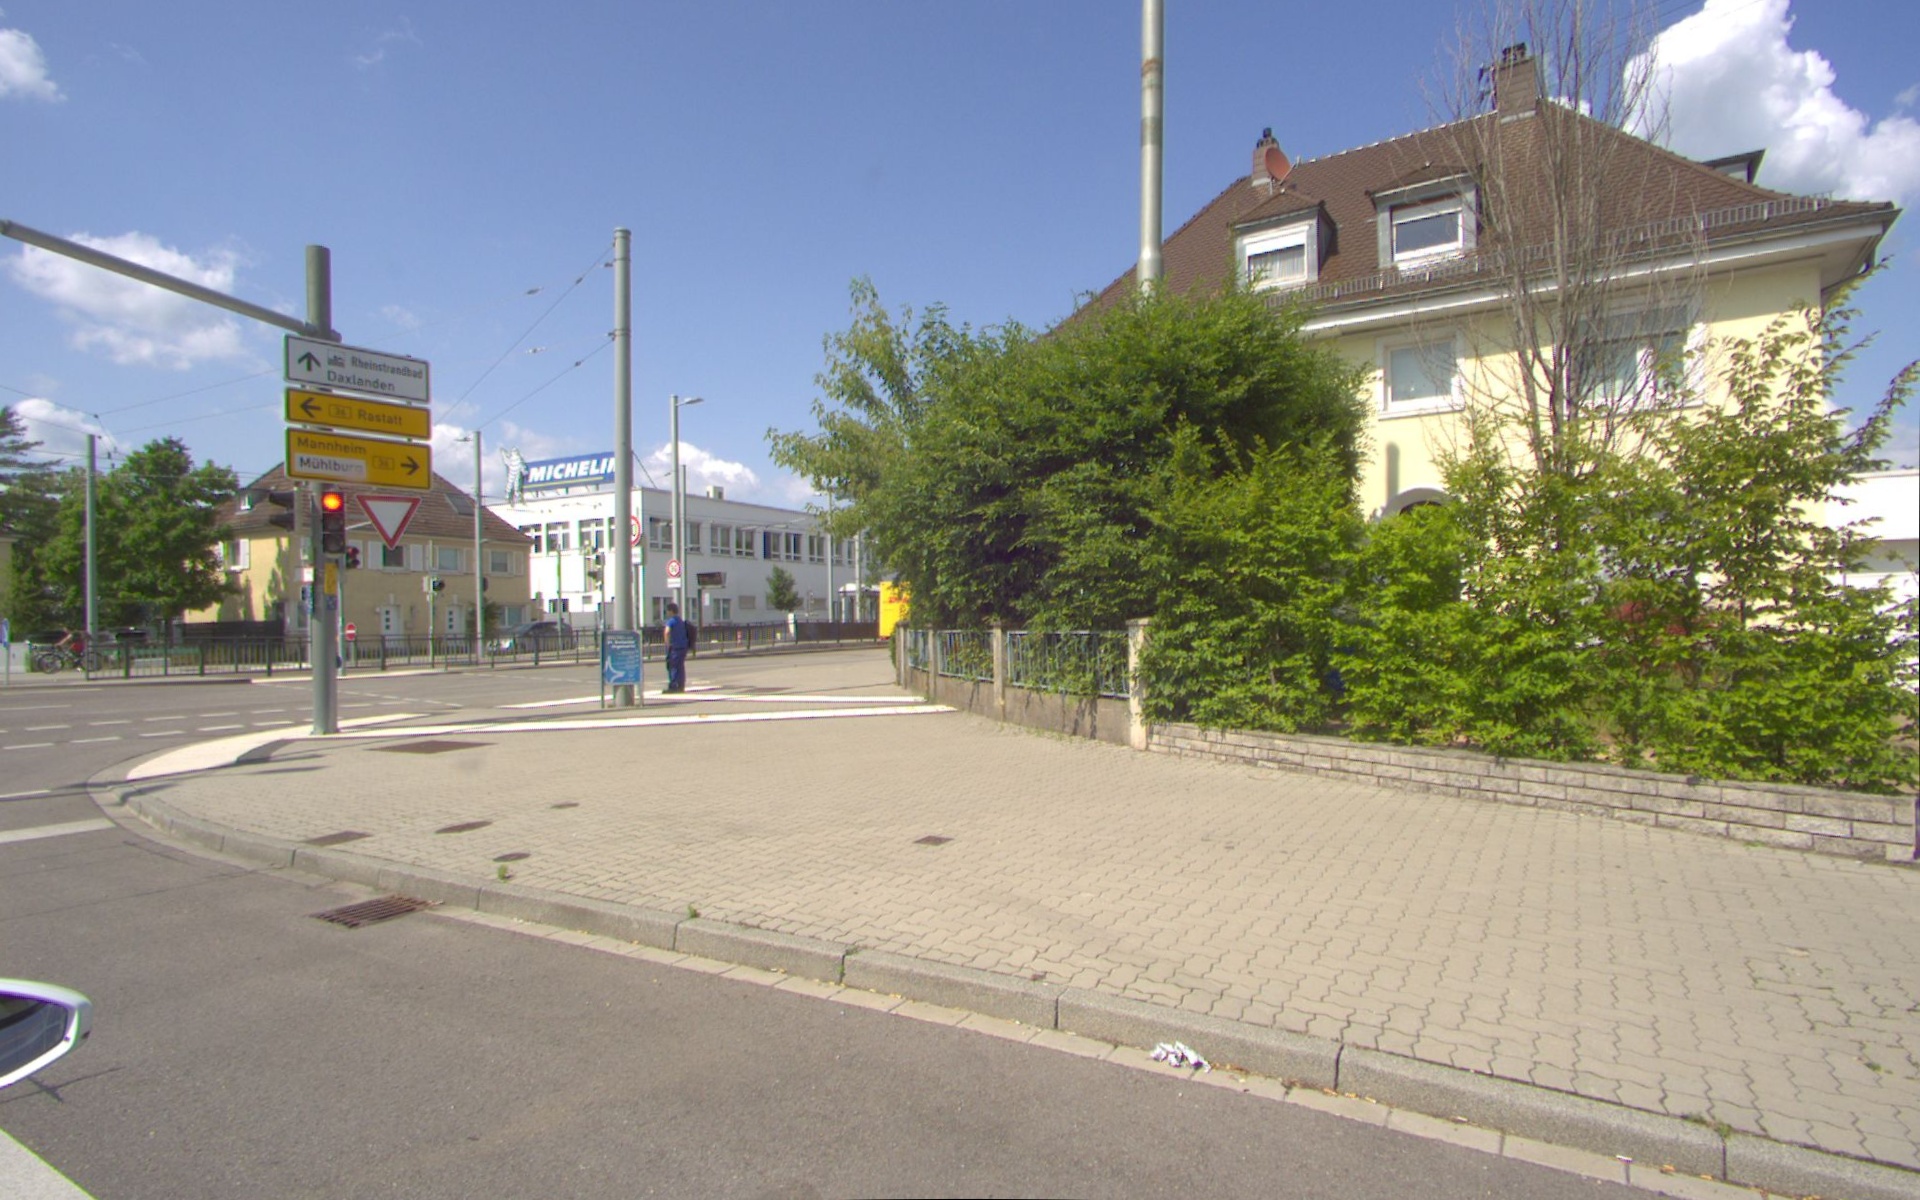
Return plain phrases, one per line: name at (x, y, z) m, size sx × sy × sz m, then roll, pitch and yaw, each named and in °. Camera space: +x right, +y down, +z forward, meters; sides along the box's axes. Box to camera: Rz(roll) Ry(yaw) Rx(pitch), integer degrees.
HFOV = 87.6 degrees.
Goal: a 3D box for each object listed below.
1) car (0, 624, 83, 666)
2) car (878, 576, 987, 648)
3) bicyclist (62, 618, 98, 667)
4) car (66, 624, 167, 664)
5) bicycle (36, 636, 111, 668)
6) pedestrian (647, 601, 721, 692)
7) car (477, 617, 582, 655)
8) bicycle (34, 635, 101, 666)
car at (-39.396, 1.924, 42.450) m, size 3.934 × 1.641 × 1.823 m, roll -3°, pitch -1°, yaw 23°
car at (-1.095, 0.553, 45.157) m, size 2.032 × 2.966 × 6.566 m, roll -1°, pitch -1°, yaw 27°
bicyclist at (-33.102, 1.589, 37.670) m, size 0.949 × 1.798 × 0.714 m, roll -1°, pitch -1°, yaw -38°
car at (-37.602, 1.953, 44.637) m, size 3.934 × 1.641 × 1.823 m, roll -3°, pitch -1°, yaw 23°
bicycle at (-33.049, 1.929, 37.373) m, size 2.008 × 1.116 × 0.710 m, roll 0°, pitch -1°, yaw -37°
pedestrian at (-5.562, 0.920, 20.223) m, size 1.025 × 1.757 × 1.028 m, roll -1°, pitch 0°, yaw 29°
car at (-18.992, 1.569, 44.331) m, size 1.815 × 1.589 × 3.981 m, roll -1°, pitch -1°, yaw 30°
bicycle at (-34.056, 1.920, 38.236) m, size 1.777 × 1.119 × 0.701 m, roll 0°, pitch -1°, yaw -19°
